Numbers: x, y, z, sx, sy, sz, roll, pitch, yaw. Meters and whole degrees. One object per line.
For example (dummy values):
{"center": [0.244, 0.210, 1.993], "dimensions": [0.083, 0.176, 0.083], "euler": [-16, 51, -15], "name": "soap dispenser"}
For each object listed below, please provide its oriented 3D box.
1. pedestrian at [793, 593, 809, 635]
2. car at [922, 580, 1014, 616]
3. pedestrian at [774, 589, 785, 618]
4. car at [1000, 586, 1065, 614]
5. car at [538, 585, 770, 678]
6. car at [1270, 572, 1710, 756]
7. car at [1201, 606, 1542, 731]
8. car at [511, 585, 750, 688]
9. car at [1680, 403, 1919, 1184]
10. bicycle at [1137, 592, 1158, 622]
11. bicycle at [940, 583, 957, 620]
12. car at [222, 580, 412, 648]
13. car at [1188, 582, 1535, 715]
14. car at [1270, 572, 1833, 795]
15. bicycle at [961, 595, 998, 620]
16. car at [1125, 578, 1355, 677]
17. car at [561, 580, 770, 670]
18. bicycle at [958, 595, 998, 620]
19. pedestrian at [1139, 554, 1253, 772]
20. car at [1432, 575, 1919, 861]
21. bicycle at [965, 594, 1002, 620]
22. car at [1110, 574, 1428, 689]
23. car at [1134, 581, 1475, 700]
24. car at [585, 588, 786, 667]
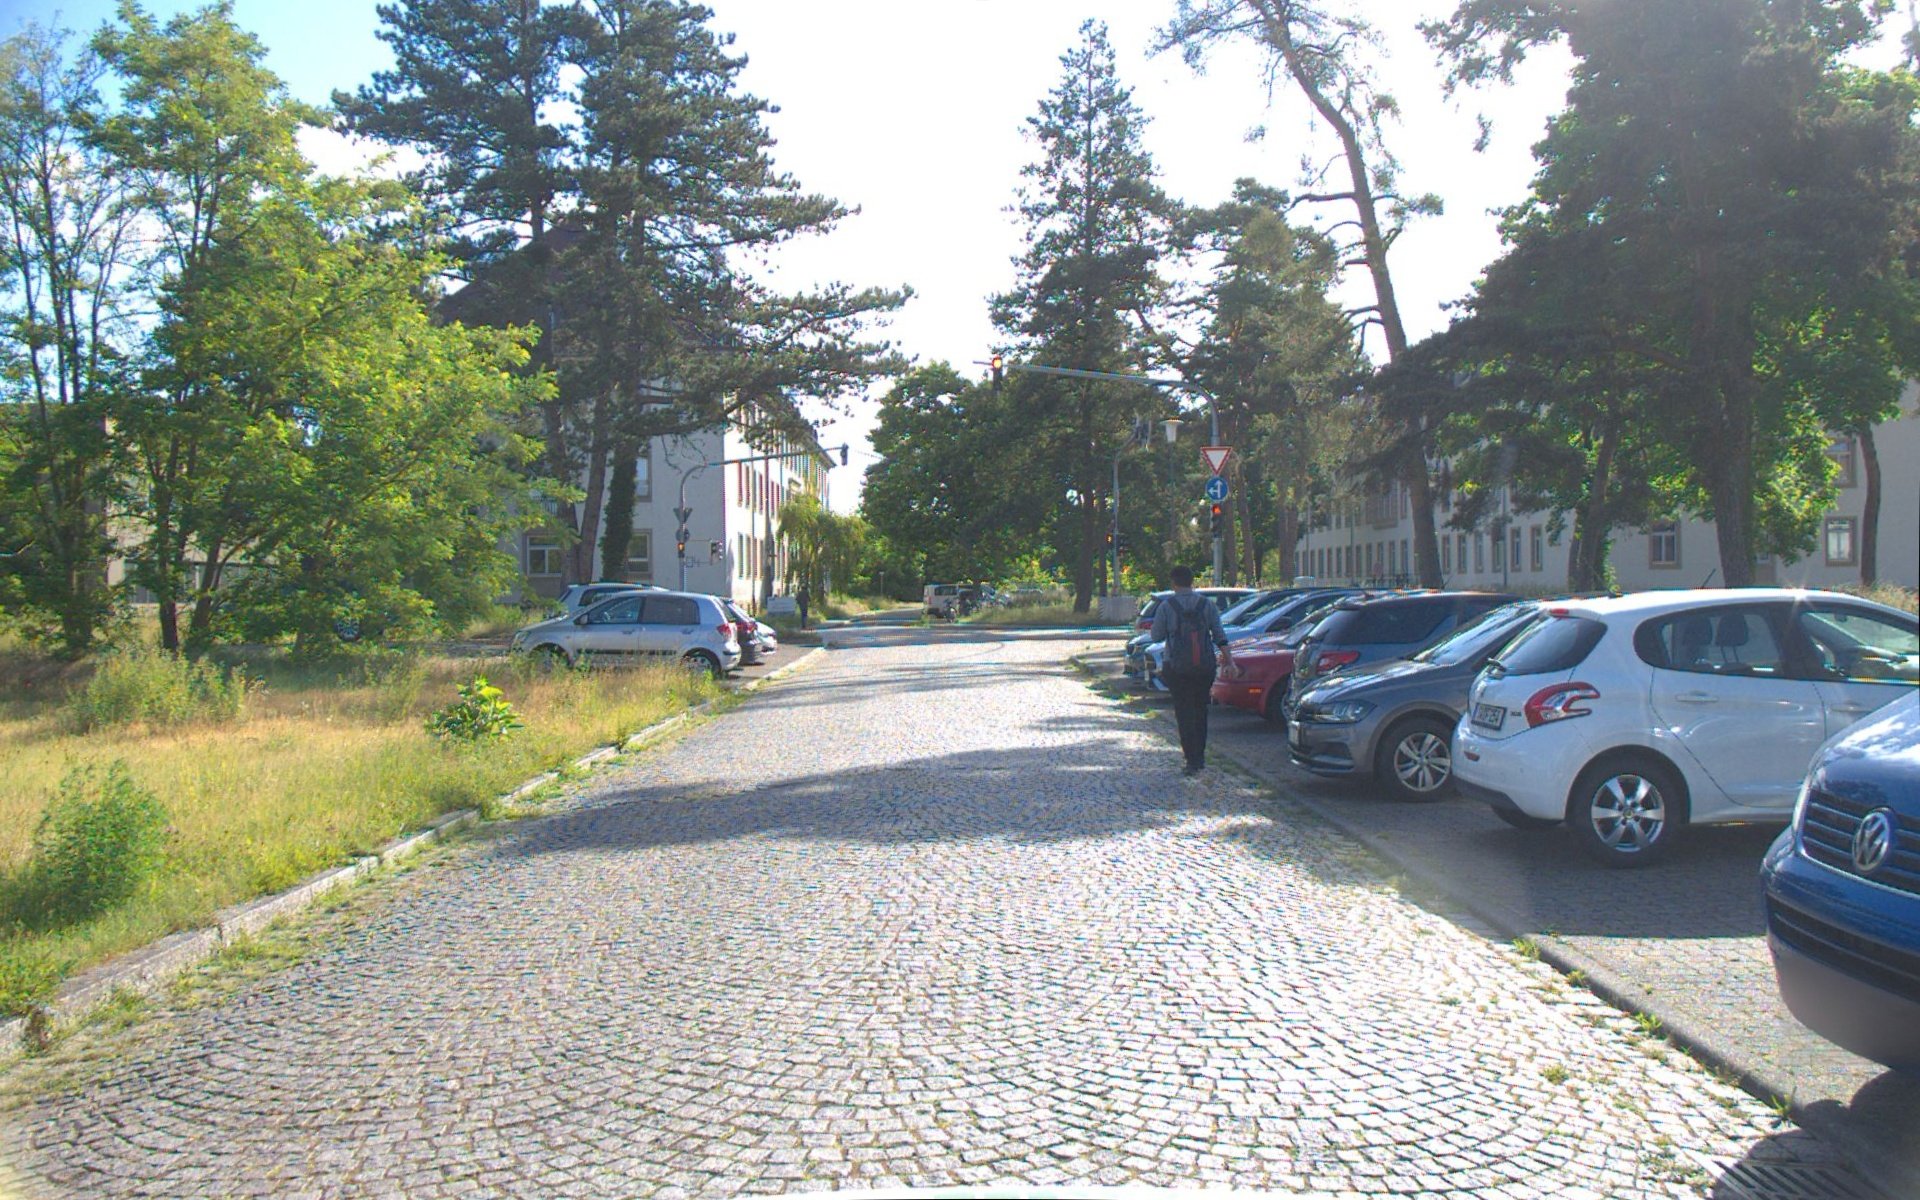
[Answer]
{"center": [-6.785, 0.613, 70.746], "dimensions": [0.596, 1.783, 0.628], "euler": [-1, 0, -13], "name": "pedestrian"}
{"center": [0.442, -0.130, 95.066], "dimensions": [4.975, 1.951, 1.995], "euler": [-1, 0, -10], "name": "car"}
{"center": [-9.958, 0.202, 91.102], "dimensions": [0.595, 1.587, 0.544], "euler": [0, 0, -7], "name": "pedestrian"}
{"center": [4.320, -0.007, 99.032], "dimensions": [3.673, 1.607, 1.738], "euler": [-1, 0, -8], "name": "car"}
{"center": [-5.483, 0.551, 29.965], "dimensions": [3.858, 1.470, 1.690], "euler": [2, 0, -2], "name": "car"}
{"center": [4.928, 0.566, 15.705], "dimensions": [3.588, 1.480, 1.666], "euler": [-3, 0, -1], "name": "car"}
{"center": [4.468, 0.726, 18.279], "dimensions": [3.390, 1.264, 1.536], "euler": [-1, 0, 0], "name": "car"}
{"center": [-5.370, 0.577, 27.305], "dimensions": [3.612, 1.554, 1.698], "euler": [2, 0, -3], "name": "car"}
{"center": [4.817, 0.402, 4.640], "dimensions": [4.657, 2.048, 2.000], "euler": [-3, 0, 0], "name": "car"}
{"center": [7.431, 0.257, 65.348], "dimensions": [0.706, 1.134, 2.586], "euler": [-1, 0, 9], "name": "bicycle"}
{"center": [-0.520, 0.070, 73.690], "dimensions": [0.738, 1.608, 2.536], "euler": [-1, 0, -1], "name": "bicycle"}
{"center": [-16.415, 0.338, 42.367], "dimensions": [4.059, 1.636, 2.010], "euler": [-1, 0, 0], "name": "car"}
{"center": [4.936, 0.578, 20.674], "dimensions": [3.898, 1.474, 1.655], "euler": [-2, 0, -1], "name": "car"}
{"center": [4.429, 0.597, 12.812], "dimensions": [3.703, 1.476, 1.758], "euler": [-2, 0, 1], "name": "car"}
{"center": [0.904, 0.362, 77.712], "dimensions": [1.693, 1.132, 0.484], "euler": [-1, 0, -4], "name": "bicycle"}
{"center": [4.731, 0.451, 28.269], "dimensions": [3.598, 1.468, 1.665], "euler": [-3, 0, -1], "name": "car"}
{"center": [-5.756, 0.478, 32.630], "dimensions": [3.801, 1.643, 1.660], "euler": [1, 0, -2], "name": "car"}
{"center": [0.842, 0.366, 77.166], "dimensions": [1.798, 1.132, 0.495], "euler": [-1, 0, -4], "name": "bicycle"}
{"center": [1.997, 0.518, 14.088], "dimensions": [0.738, 1.755, 0.828], "euler": [4, 0, -1], "name": "pedestrian"}
{"center": [4.846, 0.628, 9.885], "dimensions": [3.570, 1.518, 1.634], "euler": [-1, 0, 0], "name": "car"}
{"center": [1.128, 0.319, 78.396], "dimensions": [1.693, 1.185, 0.560], "euler": [-1, 0, -4], "name": "bicycle"}
{"center": [4.741, 0.461, 25.822], "dimensions": [4.528, 1.481, 1.869], "euler": [-3, 0, -3], "name": "car"}
{"center": [4.706, 0.531, 22.983], "dimensions": [4.310, 1.413, 1.788], "euler": [-2, 0, -2], "name": "car"}
{"center": [-5.821, 0.563, 35.351], "dimensions": [3.903, 1.522, 1.773], "euler": [2, 0, 4], "name": "car"}
